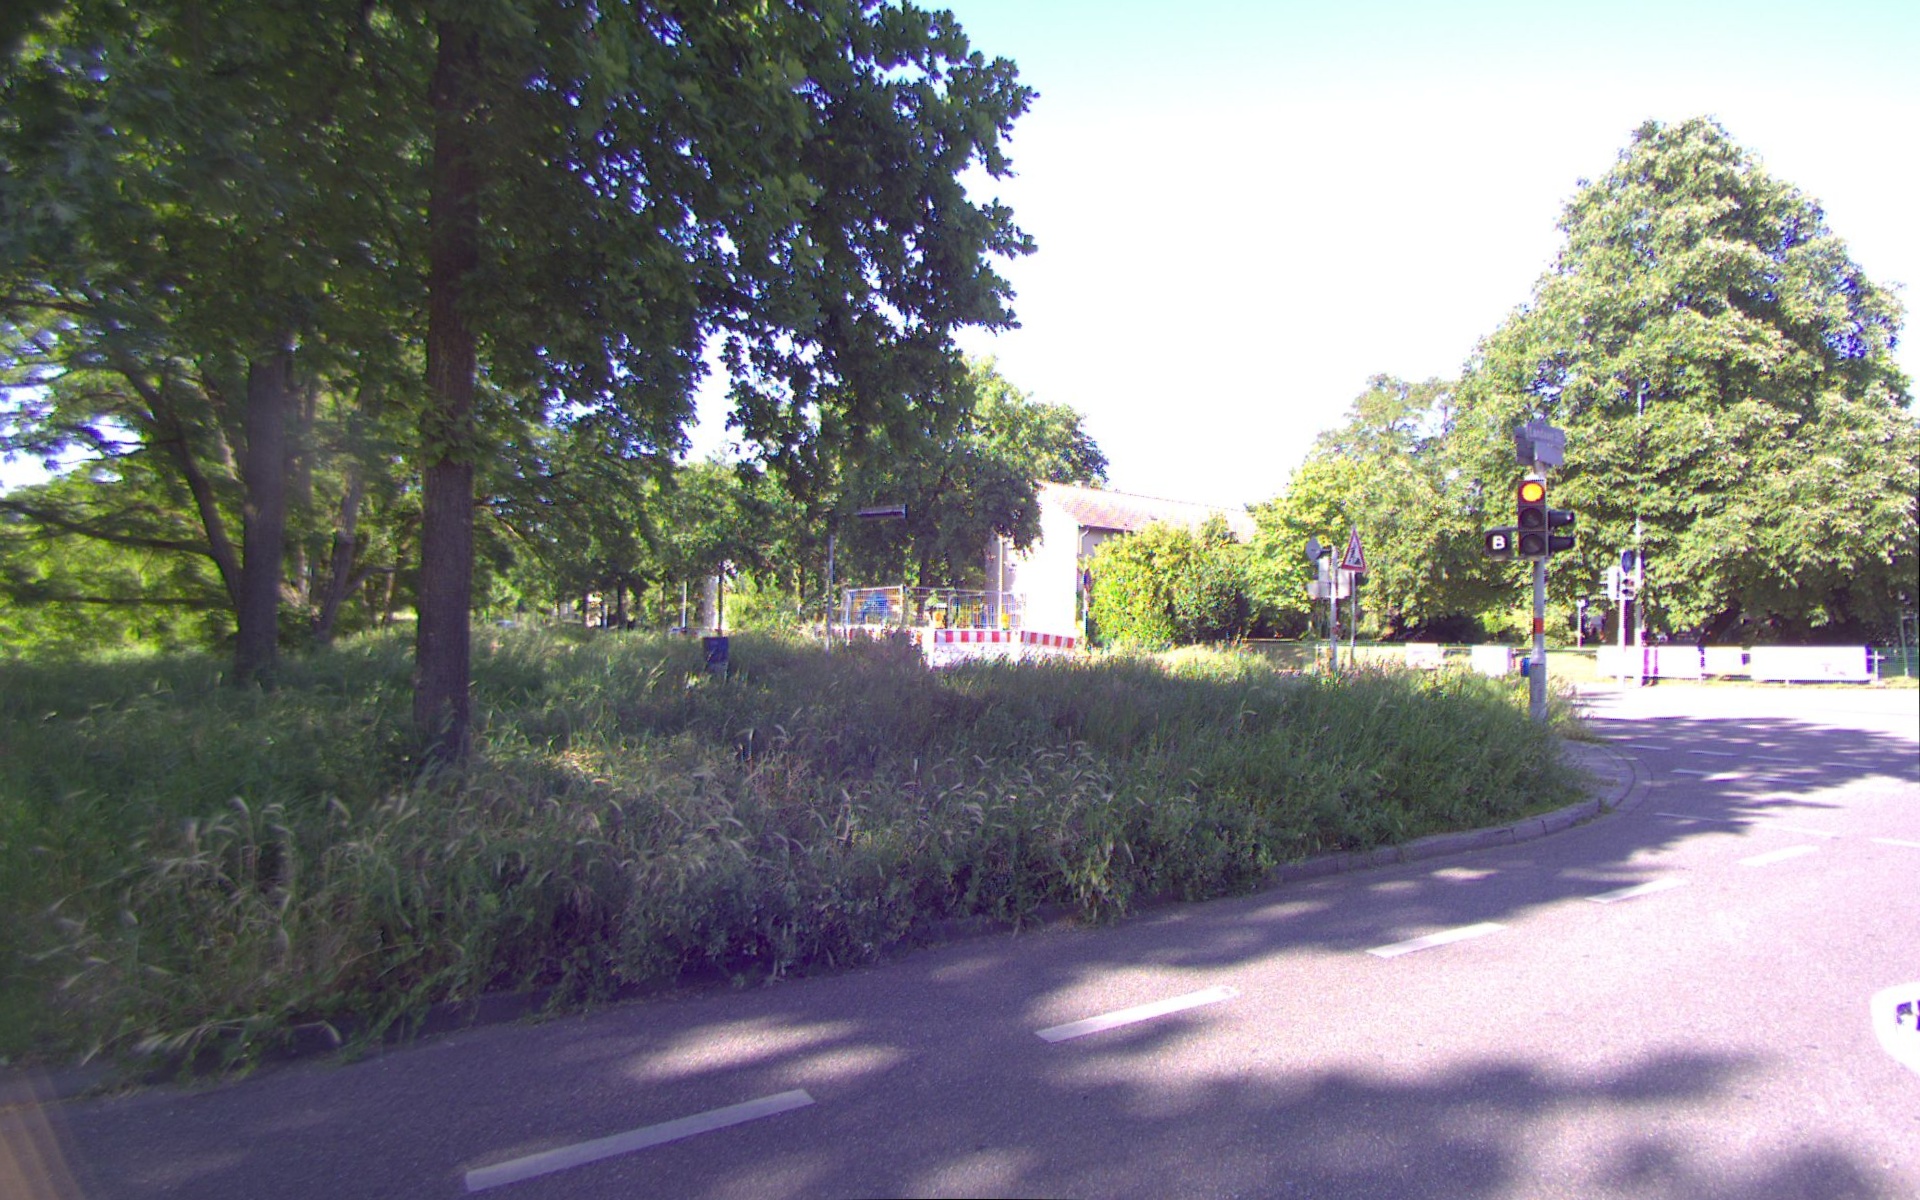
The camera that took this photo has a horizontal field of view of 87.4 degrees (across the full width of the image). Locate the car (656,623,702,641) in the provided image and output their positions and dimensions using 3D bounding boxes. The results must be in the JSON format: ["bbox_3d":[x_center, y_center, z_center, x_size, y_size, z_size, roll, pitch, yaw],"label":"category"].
[{"bbox_3d":[-23.331,2.685,83.335,1.983,1.449,4.690,2,-3,-39],"label":"car"}]

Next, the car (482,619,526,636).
[{"bbox_3d":[-47.389,2.867,104.483,3.939,1.673,1.991,2,0,-20],"label":"car"}]
